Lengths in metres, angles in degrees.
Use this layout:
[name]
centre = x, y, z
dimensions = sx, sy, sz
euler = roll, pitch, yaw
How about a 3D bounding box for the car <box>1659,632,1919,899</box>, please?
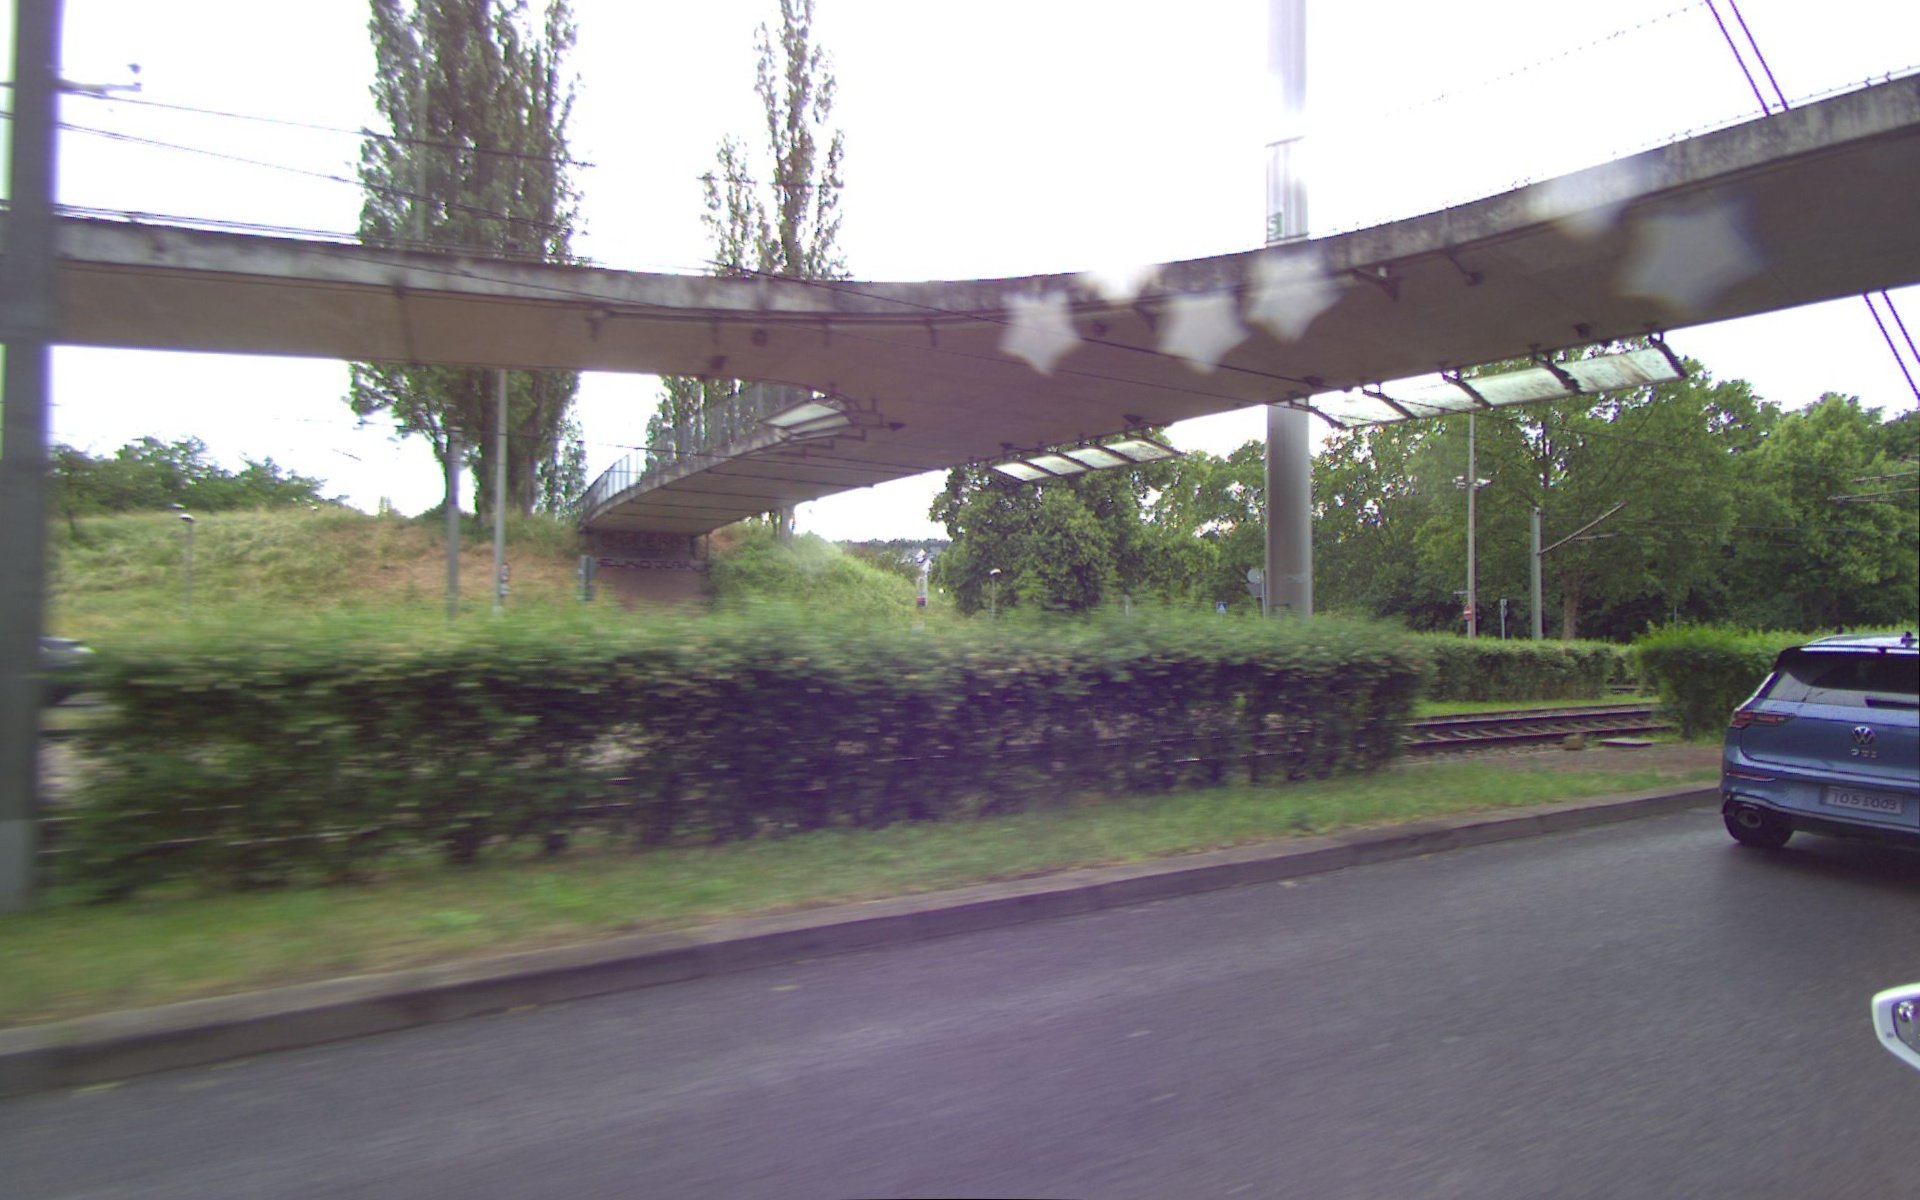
[car]
centre = 6.816, 0.960, 6.790
dimensions = 4.296, 1.397, 1.799
euler = 2, -1, -30
